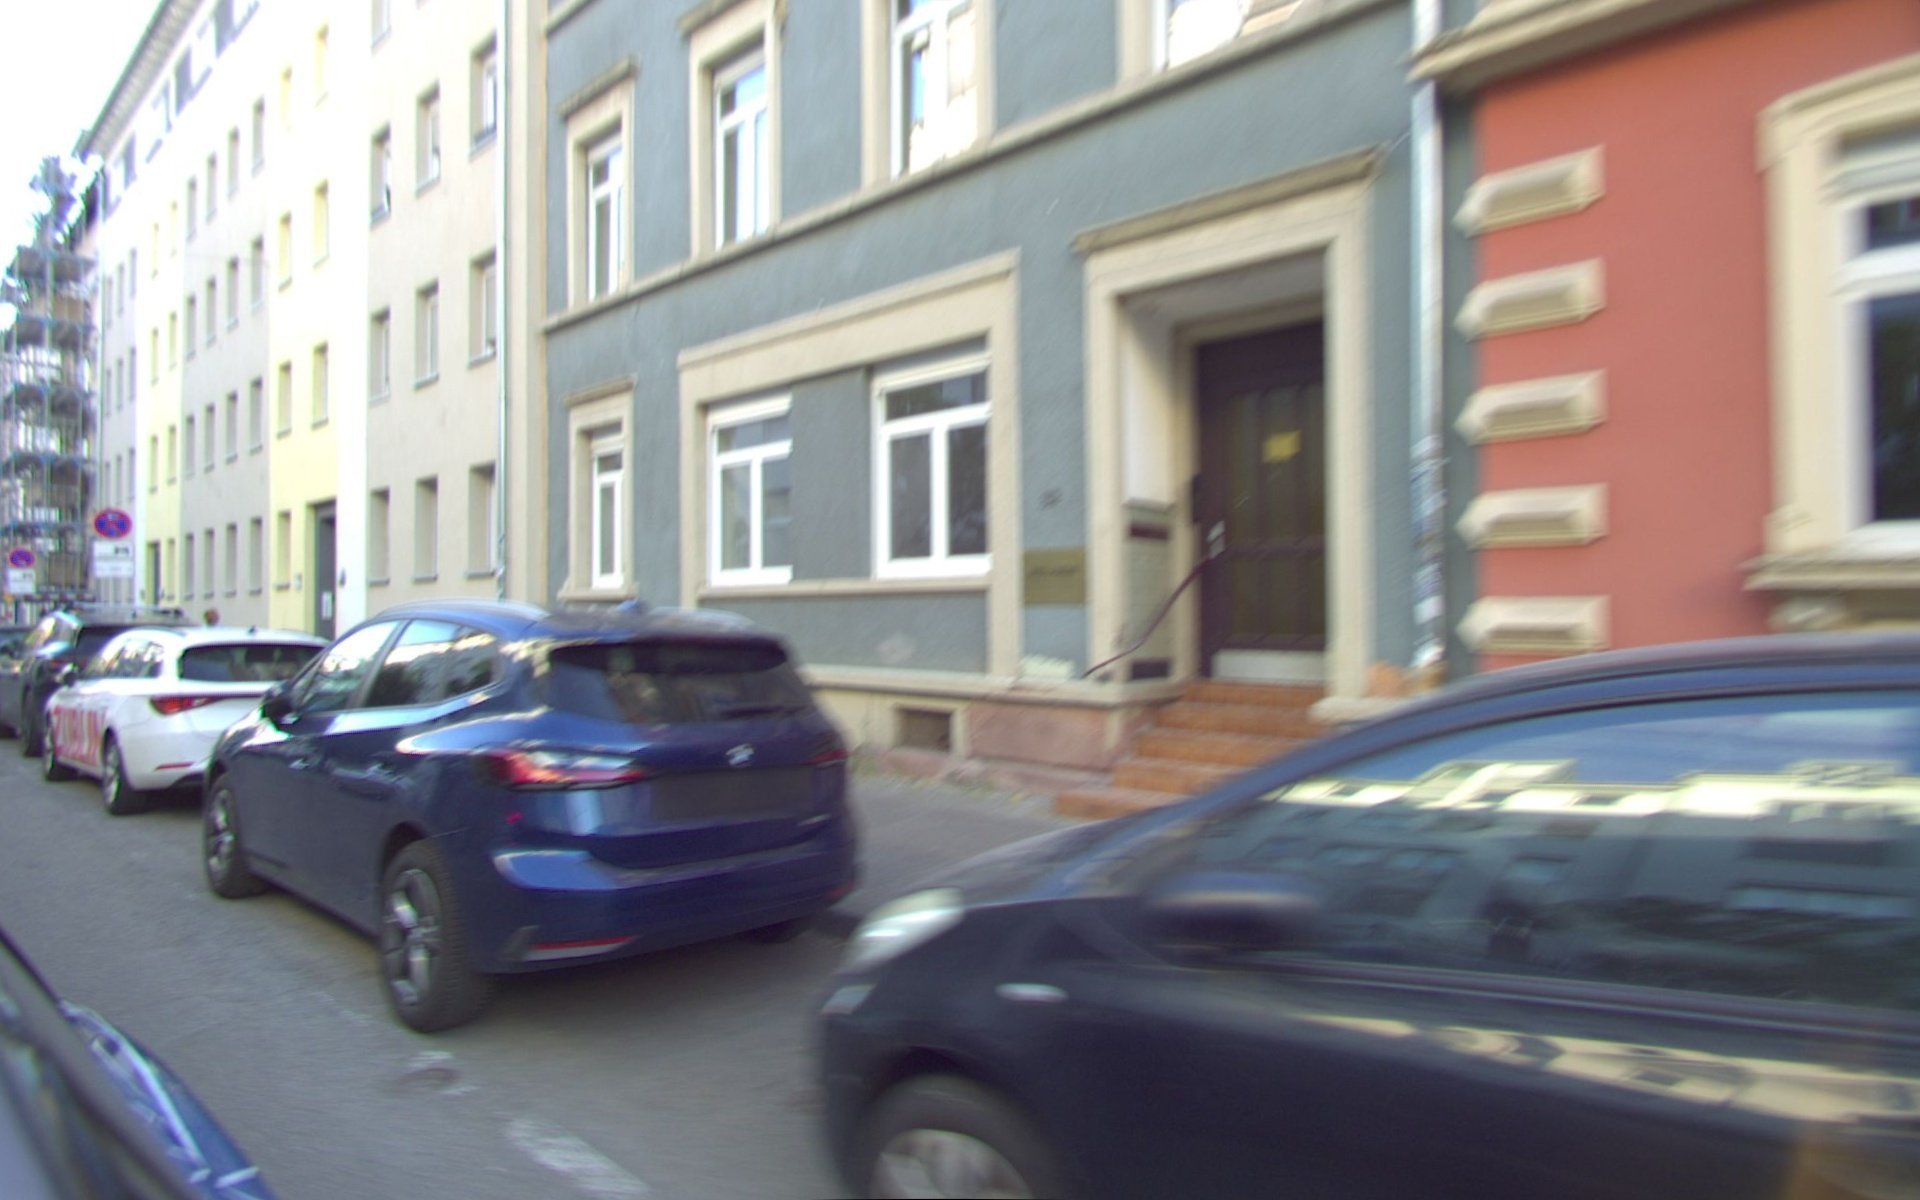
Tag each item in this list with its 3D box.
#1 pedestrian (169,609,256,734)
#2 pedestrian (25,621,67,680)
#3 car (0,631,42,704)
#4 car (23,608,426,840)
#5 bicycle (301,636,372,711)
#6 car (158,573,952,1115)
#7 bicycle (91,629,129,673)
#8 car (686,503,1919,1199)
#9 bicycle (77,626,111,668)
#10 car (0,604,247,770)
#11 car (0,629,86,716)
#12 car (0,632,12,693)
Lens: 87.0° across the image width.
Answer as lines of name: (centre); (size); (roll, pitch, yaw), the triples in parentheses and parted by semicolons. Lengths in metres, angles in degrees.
pedestrian: (-11.324, 1.060, 15.329); (1.091, 1.804, 0.780); (-1, -3, 41)
pedestrian: (-28.088, 1.536, 31.098); (1.091, 1.774, 0.780); (-1, -3, 41)
car: (-21.963, 1.443, 22.345); (4.614, 1.500, 1.903); (-1, -3, 41)
car: (-6.674, 0.939, 9.015); (4.264, 1.572, 1.901); (-2, -4, 40)
bicycle: (-9.657, 1.111, 15.644); (1.751, 1.082, 0.445); (-1, -1, 41)
car: (-2.272, 0.803, 5.087); (4.264, 1.572, 1.901); (-2, -4, 40)
bicycle: (-23.713, 1.406, 28.227); (1.730, 1.177, 0.473); (-1, 1, 39)
car: (1.561, 0.730, 1.823); (4.237, 1.572, 1.881); (-2, -4, 40)
bicycle: (-25.692, 1.383, 30.015); (1.814, 1.177, 0.400); (-1, 1, 39)
car: (-10.601, 0.977, 12.424); (4.465, 1.676, 1.901); (-2, -4, 40)
car: (-18.222, 1.307, 19.254); (4.418, 1.500, 1.760); (-1, -3, 41)
car: (-25.977, 1.560, 25.902); (4.613, 1.500, 1.903); (-1, -3, 40)
